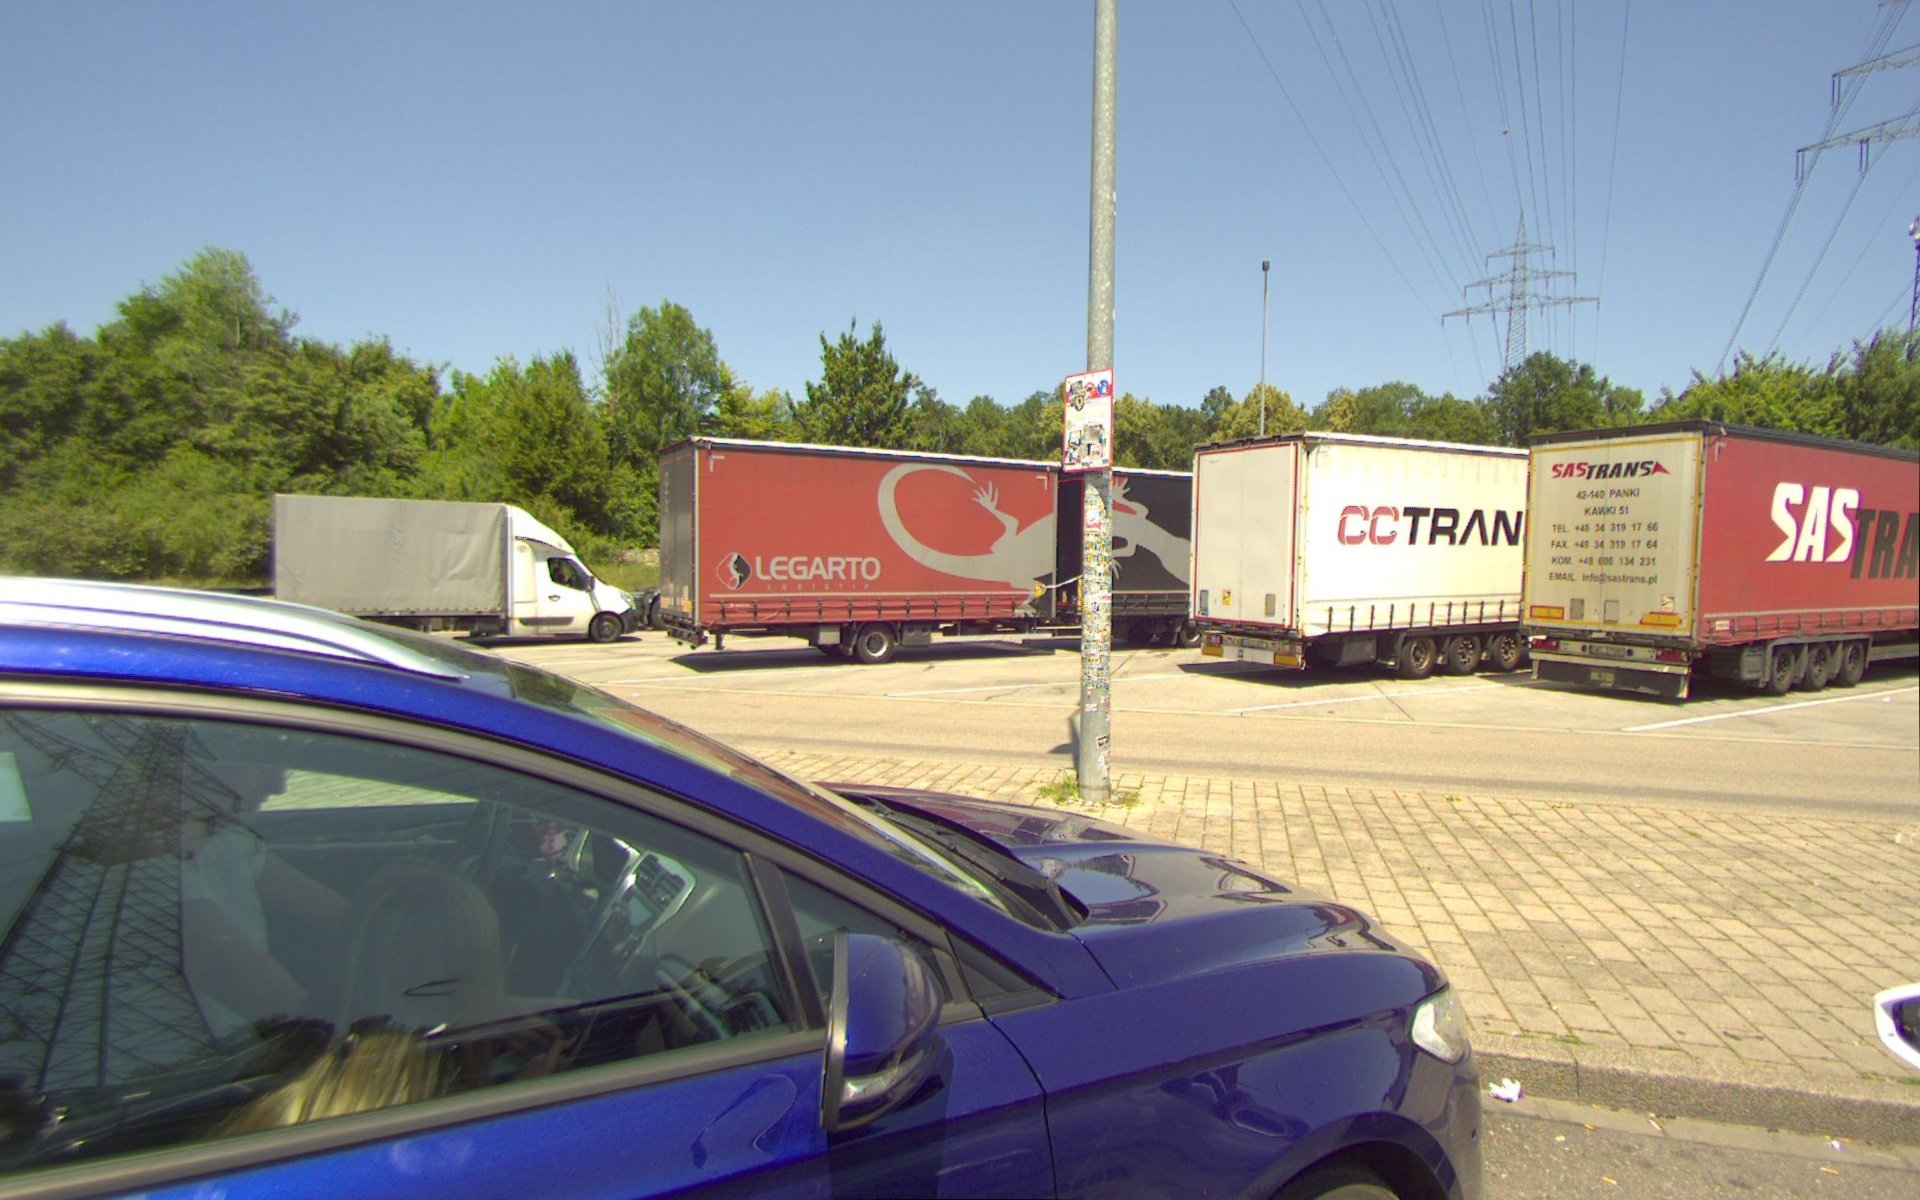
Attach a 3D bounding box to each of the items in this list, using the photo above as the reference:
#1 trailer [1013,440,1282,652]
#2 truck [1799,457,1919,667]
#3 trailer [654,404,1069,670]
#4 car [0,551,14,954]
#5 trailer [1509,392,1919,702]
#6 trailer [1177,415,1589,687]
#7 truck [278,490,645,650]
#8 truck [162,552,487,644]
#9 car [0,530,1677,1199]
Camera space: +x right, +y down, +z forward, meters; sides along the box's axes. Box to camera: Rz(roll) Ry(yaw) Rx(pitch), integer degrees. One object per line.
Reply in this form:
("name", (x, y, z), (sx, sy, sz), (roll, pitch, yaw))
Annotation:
("trailer", (4.547, -1.143, 24.097), (6.076, 4.505, 2.665), (0, 1, -30))
("truck", (21.440, -0.750, 22.067), (5.824, 4.189, 2.792), (0, 0, -30))
("trailer", (-1.803, -1.052, 20.231), (7.963, 4.510, 2.648), (0, 0, -31))
("car", (-4.338, 0.512, 2.180), (3.077, 1.378, 1.334), (1, 0, -30))
("trailer", (15.257, -0.705, 18.433), (13.046, 4.276, 2.786), (0, 0, -31))
("trailer", (8.109, -0.760, 18.835), (8.189, 4.208, 2.741), (0, 1, -30))
("truck", (-11.049, -0.584, 22.814), (7.171, 3.194, 2.160), (0, 1, -30))
("truck", (-15.346, -0.033, 24.785), (6.538, 2.040, 1.984), (0, 0, -30))
("car", (-0.998, 0.666, 1.489), (4.362, 1.437, 1.731), (1, 0, -30))
